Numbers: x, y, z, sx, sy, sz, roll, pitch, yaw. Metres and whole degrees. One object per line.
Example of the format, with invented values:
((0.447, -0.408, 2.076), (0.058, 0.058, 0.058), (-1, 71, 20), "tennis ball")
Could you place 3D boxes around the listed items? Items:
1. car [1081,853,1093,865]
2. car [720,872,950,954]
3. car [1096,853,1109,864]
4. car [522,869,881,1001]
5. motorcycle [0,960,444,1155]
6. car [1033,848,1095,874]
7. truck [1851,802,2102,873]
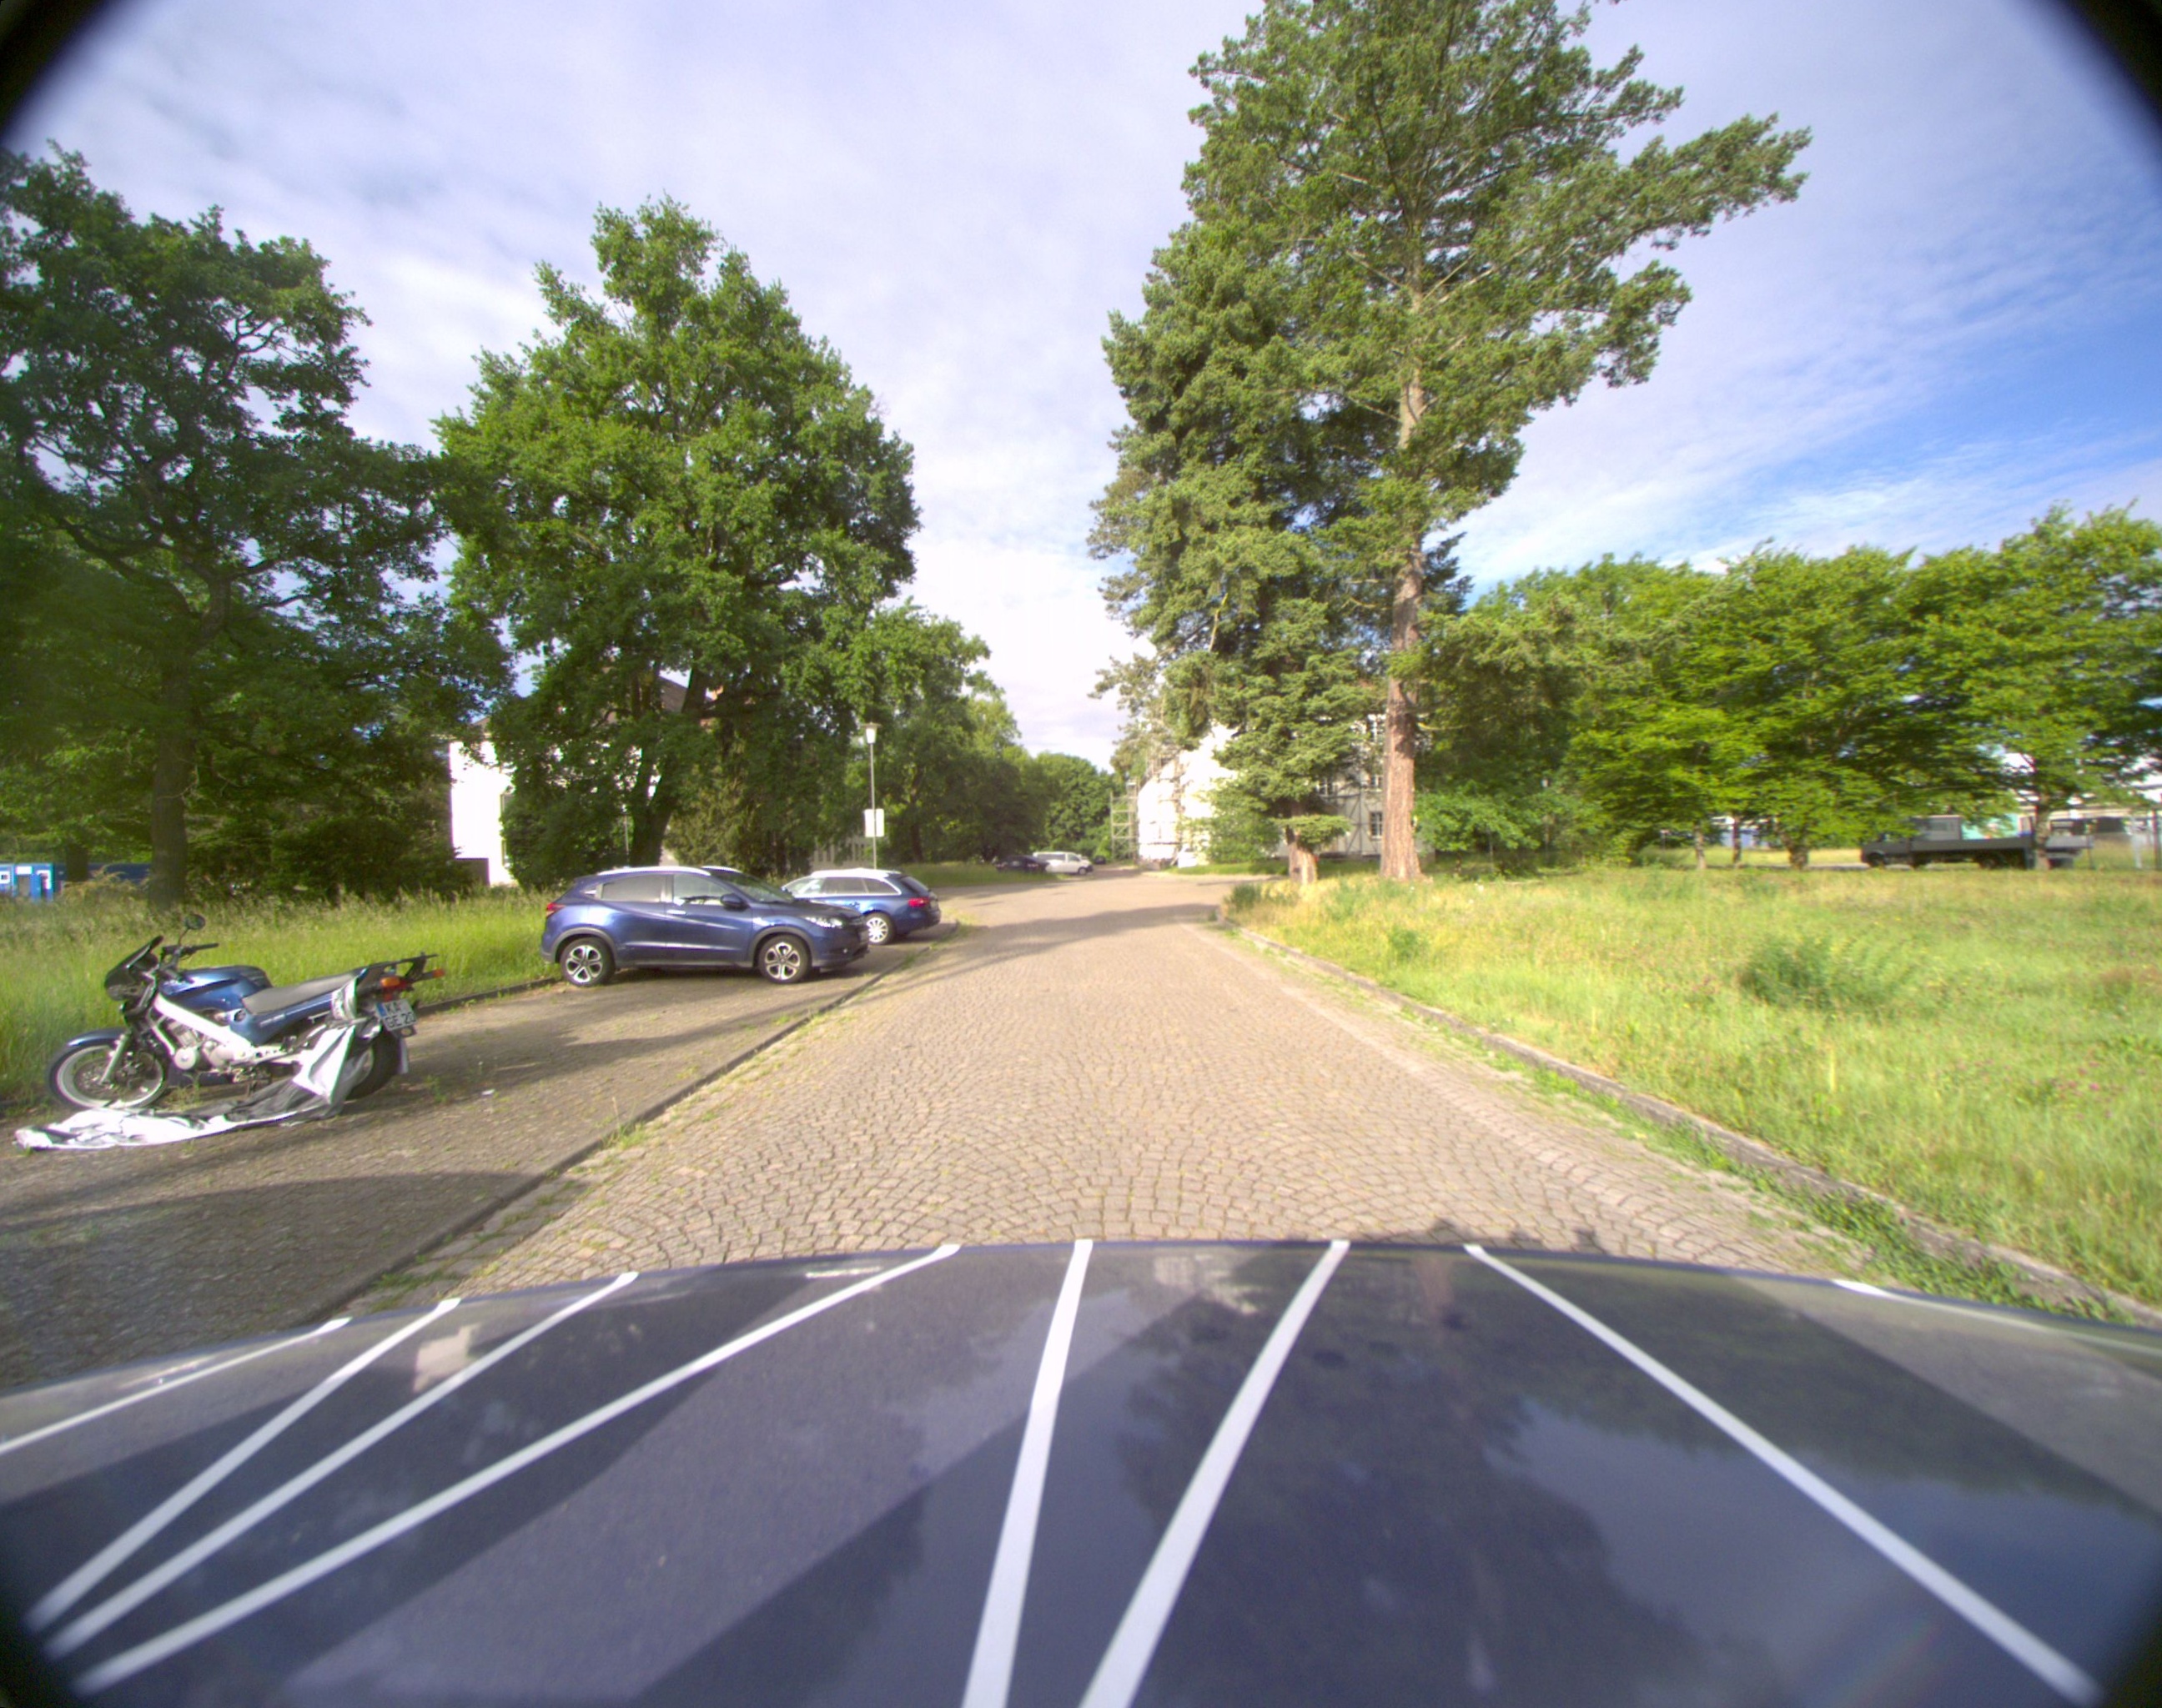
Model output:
((0.986, 0.815, 130.526), (1.874, 1.888, 3.999), (-2, 1, 0), "car")
((-4.877, 1.153, 15.440), (4.035, 1.442, 1.783), (-1, 1, 2), "car")
((3.714, 0.783, 130.766), (1.999, 1.762, 4.108), (-2, 1, 0), "car")
((-5.150, 1.069, 10.740), (4.136, 1.560, 1.746), (-1, 1, -1), "car")
((-5.611, 1.309, 5.006), (2.307, 1.107, 0.607), (-1, 1, 1), "motorcycle")
((-1.421, 0.588, 64.411), (5.079, 2.029, 2.000), (-2, 0, -1), "car")
((36.917, -0.624, 31.813), (2.417, 2.572, 6.959), (-2, 0, 2), "truck")
